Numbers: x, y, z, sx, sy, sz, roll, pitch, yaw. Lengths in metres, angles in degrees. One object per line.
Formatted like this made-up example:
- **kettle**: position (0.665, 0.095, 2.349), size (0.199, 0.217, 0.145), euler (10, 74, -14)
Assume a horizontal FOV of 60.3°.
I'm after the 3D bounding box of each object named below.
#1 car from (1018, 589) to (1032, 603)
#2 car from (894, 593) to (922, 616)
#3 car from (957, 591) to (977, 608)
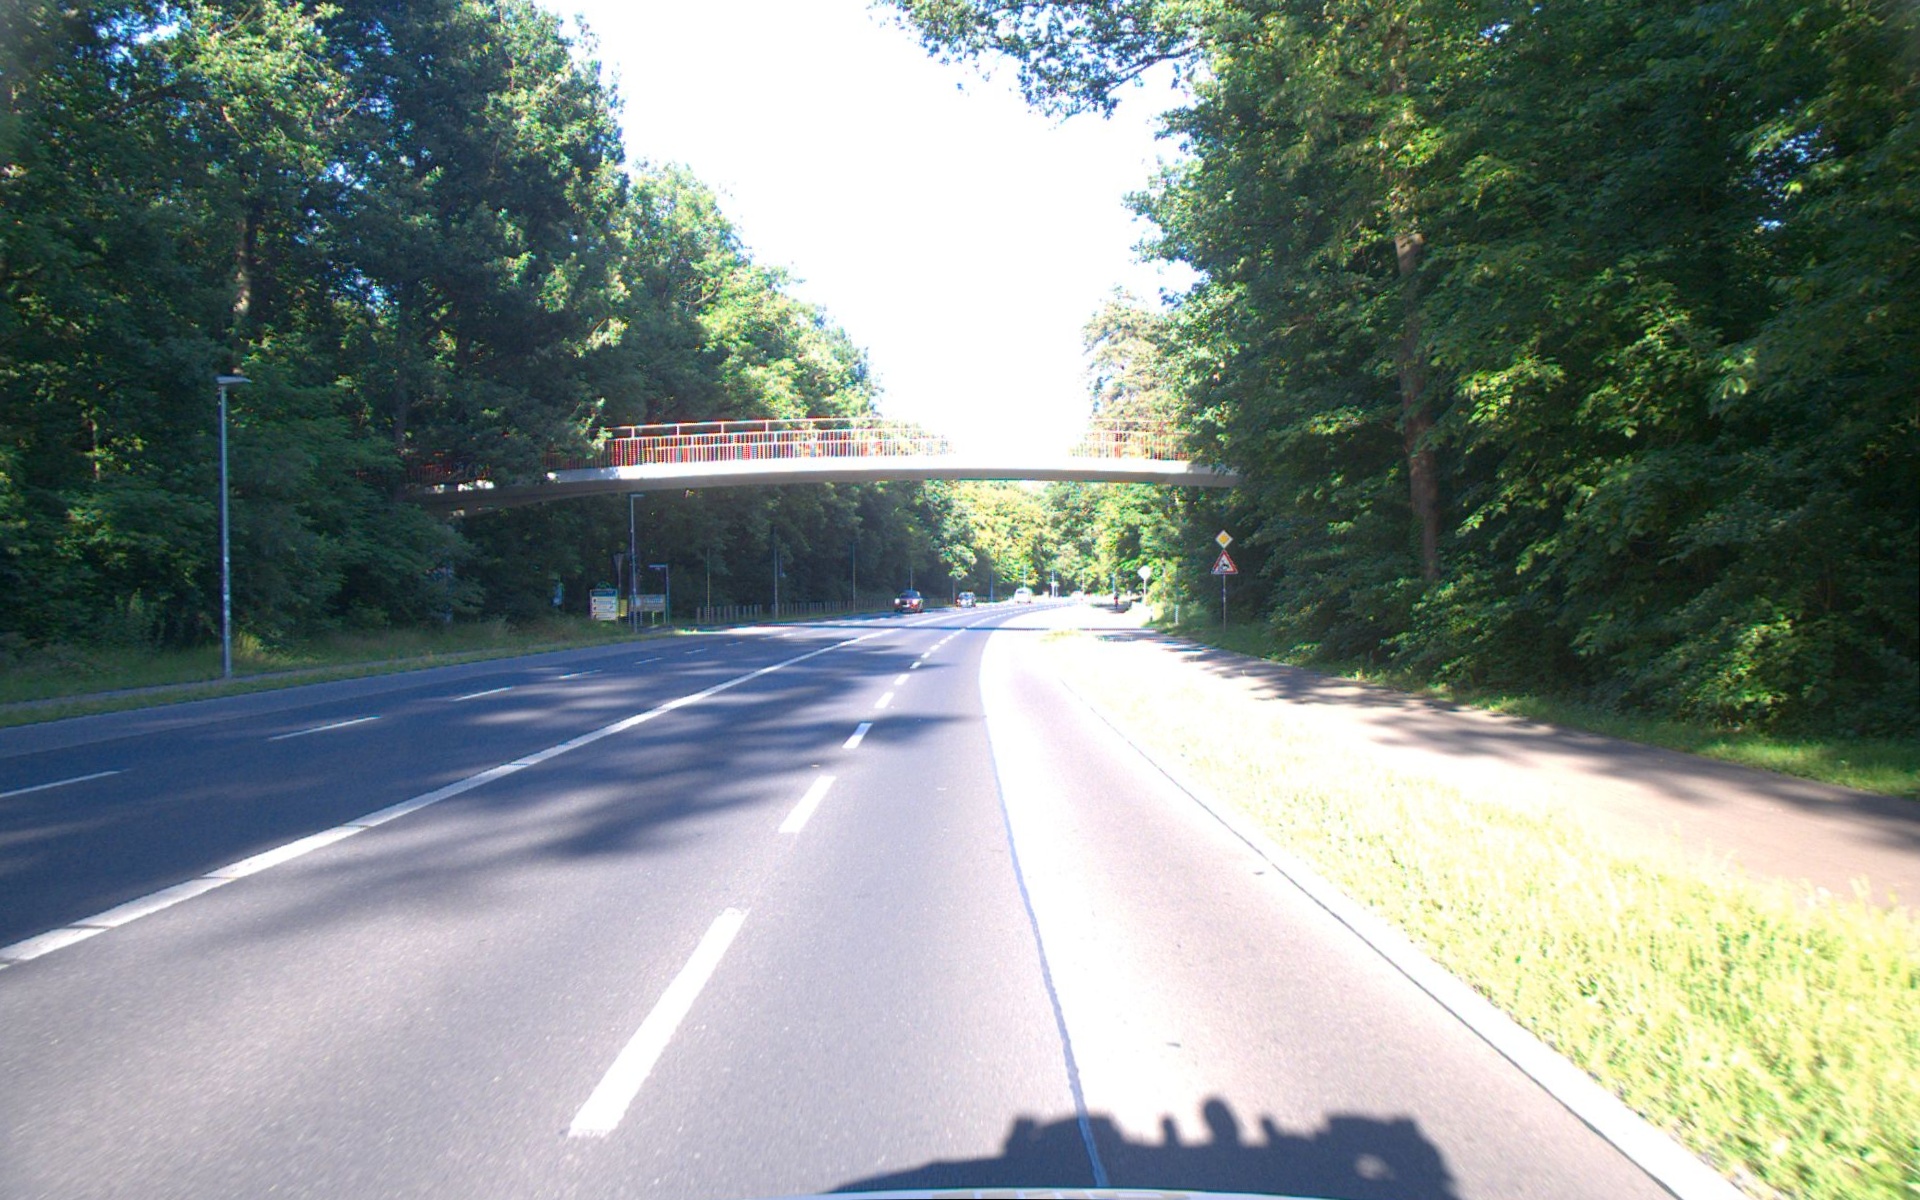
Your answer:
- **car**: position (8.240, -0.462, 210.093), size (1.669, 1.739, 4.001), euler (0, 0, 2)
- **car**: position (-3.851, 0.333, 122.177), size (1.725, 1.610, 4.170), euler (1, 1, 3)
- **car**: position (0.664, -0.078, 161.661), size (1.686, 1.601, 4.179), euler (1, 1, 3)
